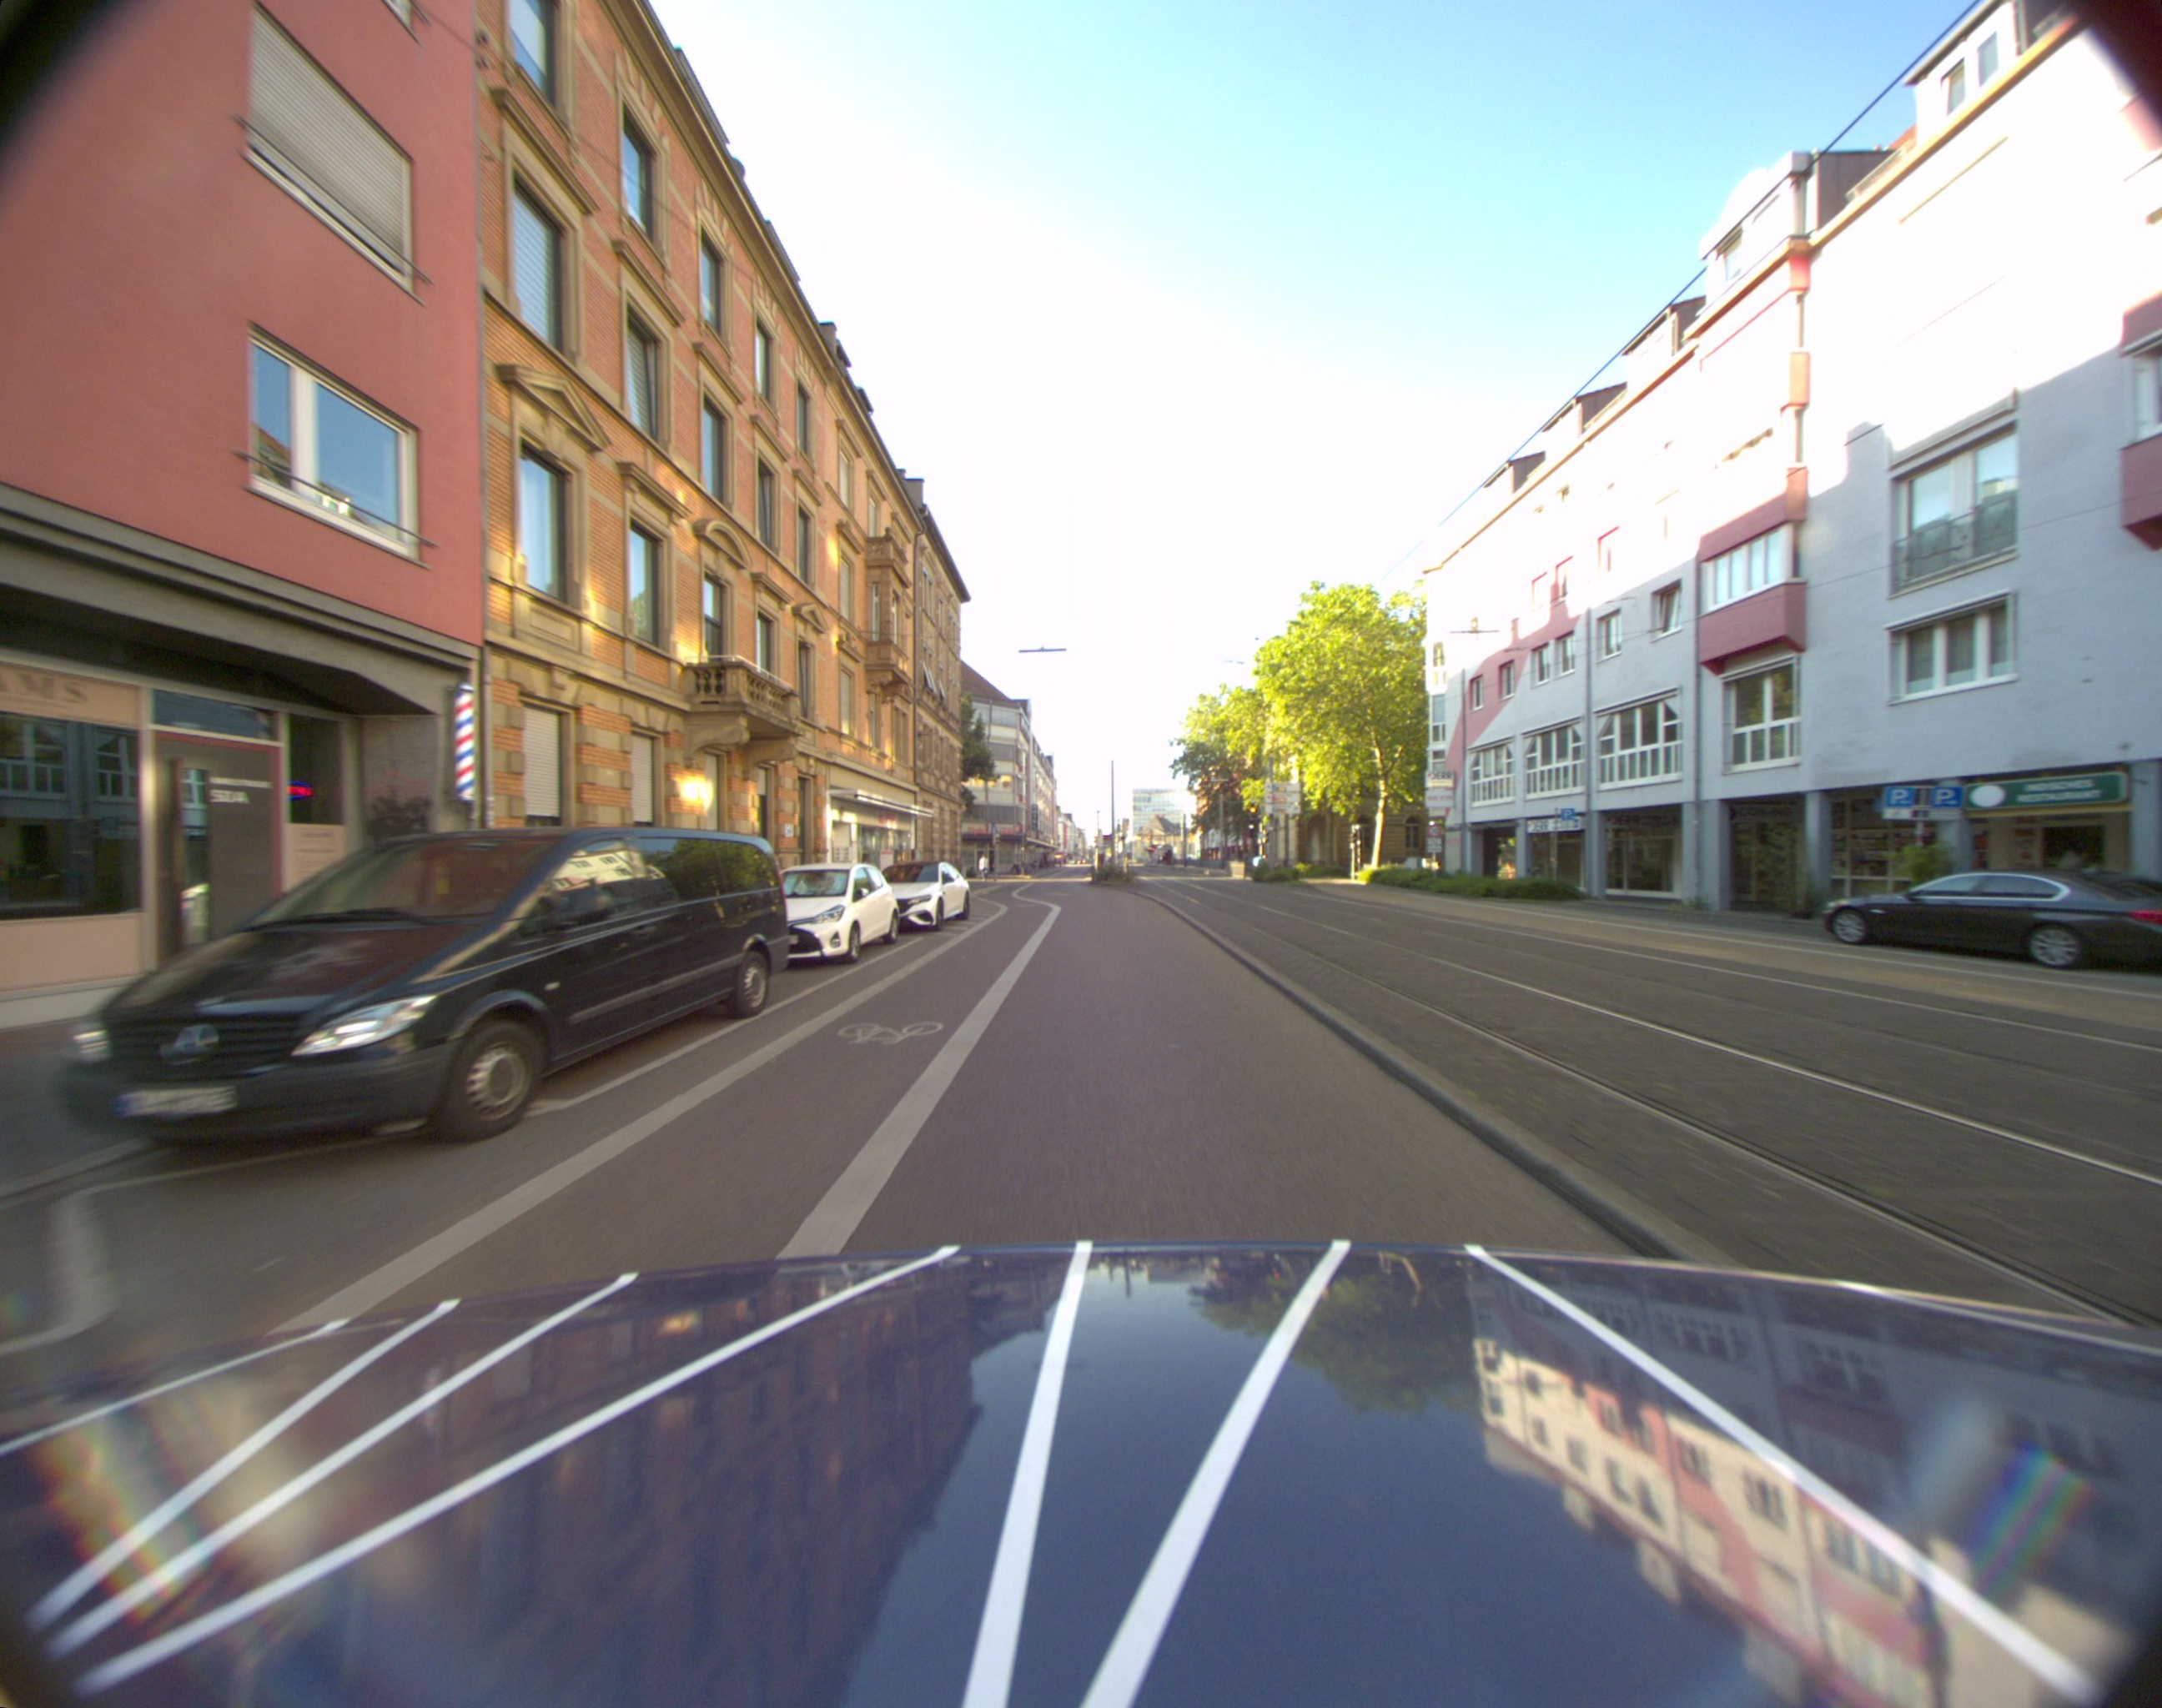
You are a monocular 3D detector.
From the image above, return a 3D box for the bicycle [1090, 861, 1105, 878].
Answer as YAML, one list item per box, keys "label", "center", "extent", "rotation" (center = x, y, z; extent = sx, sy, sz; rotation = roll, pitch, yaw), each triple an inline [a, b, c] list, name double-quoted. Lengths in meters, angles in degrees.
- label: "bicycle"
  center: [1.051, 0.987, 49.234]
  extent: [0.584, 1.071, 1.898]
  rotation: [-3, 0, -10]

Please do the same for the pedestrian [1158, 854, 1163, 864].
- label: "pedestrian"
  center: [13.612, 0.865, 130.249]
  extent: [0.859, 1.756, 0.812]
  rotation: [-3, 1, 9]

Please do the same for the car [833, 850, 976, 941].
- label: "car"
  center: [-3.862, 0.828, 17.627]
  extent: [1.971, 1.761, 4.876]
  rotation: [-2, 0, 2]

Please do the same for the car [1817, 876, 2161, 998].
- label: "car"
  center: [15.184, 1.163, 12.328]
  extent: [1.874, 1.431, 4.706]
  rotation: [-1, 0, -1]

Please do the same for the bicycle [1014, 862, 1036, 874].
- label: "bicycle"
  center: [-5.058, 1.241, 68.584]
  extent: [1.918, 1.041, 0.681]
  rotation: [0, 0, -2]

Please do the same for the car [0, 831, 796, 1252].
- label: "car"
  center: [-4.256, 0.850, 5.890]
  extent: [1.960, 1.858, 4.989]
  rotation: [-2, 0, 3]

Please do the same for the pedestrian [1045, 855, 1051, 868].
- label: "pedestrian"
  center: [-5.058, 1.158, 116.956]
  extent: [0.917, 1.856, 0.779]
  rotation: [2, 1, -2]

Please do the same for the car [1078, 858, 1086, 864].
- label: "car"
  center: [0.254, 1.927, 204.705]
  extent: [1.971, 1.664, 4.876]
  rotation: [-2, -1, 1]

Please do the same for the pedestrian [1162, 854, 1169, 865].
- label: "pedestrian"
  center: [12.449, 0.768, 111.938]
  extent: [0.913, 1.652, 0.967]
  rotation: [0, 1, 0]

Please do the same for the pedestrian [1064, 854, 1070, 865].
- label: "pedestrian"
  center: [-2.521, 1.000, 137.334]
  extent: [0.812, 1.793, 0.859]
  rotation: [-3, 1, -27]

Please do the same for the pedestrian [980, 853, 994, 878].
- label: "pedestrian"
  center: [-6.275, 0.783, 50.771]
  extent: [0.785, 1.655, 1.034]
  rotation: [0, -1, 2]

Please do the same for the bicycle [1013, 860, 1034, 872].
- label: "bicycle"
  center: [-5.062, 1.061, 67.196]
  extent: [1.838, 1.048, 0.718]
  rotation: [0, 0, -2]

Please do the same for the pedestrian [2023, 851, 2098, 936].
- label: "pedestrian"
  center: [19.895, 0.786, 15.446]
  extent: [0.745, 1.702, 0.616]
  rotation: [0, 0, -2]

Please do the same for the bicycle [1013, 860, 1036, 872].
- label: "bicycle"
  center: [-5.052, 1.055, 67.926]
  extent: [1.975, 1.098, 0.614]
  rotation: [0, 0, -2]

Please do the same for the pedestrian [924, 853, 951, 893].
- label: "pedestrian"
  center: [-5.849, 0.758, 30.990]
  extent: [0.777, 1.558, 0.914]
  rotation: [3, 0, 4]

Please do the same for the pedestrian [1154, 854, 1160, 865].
- label: "pedestrian"
  center: [12.840, 0.919, 128.647]
  extent: [0.860, 1.756, 0.811]
  rotation: [-3, 1, 6]

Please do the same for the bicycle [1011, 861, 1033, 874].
- label: "bicycle"
  center: [-5.077, 1.164, 65.522]
  extent: [1.838, 1.048, 0.710]
  rotation: [0, 0, -2]

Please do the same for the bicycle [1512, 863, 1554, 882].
- label: "bicycle"
  center: [17.785, 0.719, 29.924]
  extent: [0.457, 0.654, 1.809]
  rotation: [-3, 0, -4]

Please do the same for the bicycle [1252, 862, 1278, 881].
- label: "bicycle"
  center: [11.419, 1.093, 47.124]
  extent: [1.903, 1.071, 0.582]
  rotation: [-3, 1, -42]

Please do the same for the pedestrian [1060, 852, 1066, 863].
- label: "pedestrian"
  center: [-2.894, 0.526, 121.042]
  extent: [0.800, 1.712, 1.061]
  rotation: [3, 1, 2]

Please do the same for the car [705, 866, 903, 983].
- label: "car"
  center: [-4.228, 0.988, 12.309]
  extent: [1.735, 1.487, 3.961]
  rotation: [-2, 0, -1]

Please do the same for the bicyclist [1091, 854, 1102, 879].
- label: "bicyclist"
  center: [1.002, 0.807, 49.269]
  extent: [0.534, 1.569, 0.744]
  rotation: [0, 0, -16]

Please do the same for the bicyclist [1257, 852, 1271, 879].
- label: "bicyclist"
  center: [11.316, 0.700, 47.005]
  extent: [0.747, 1.702, 0.532]
  rotation: [-1, 0, -44]
